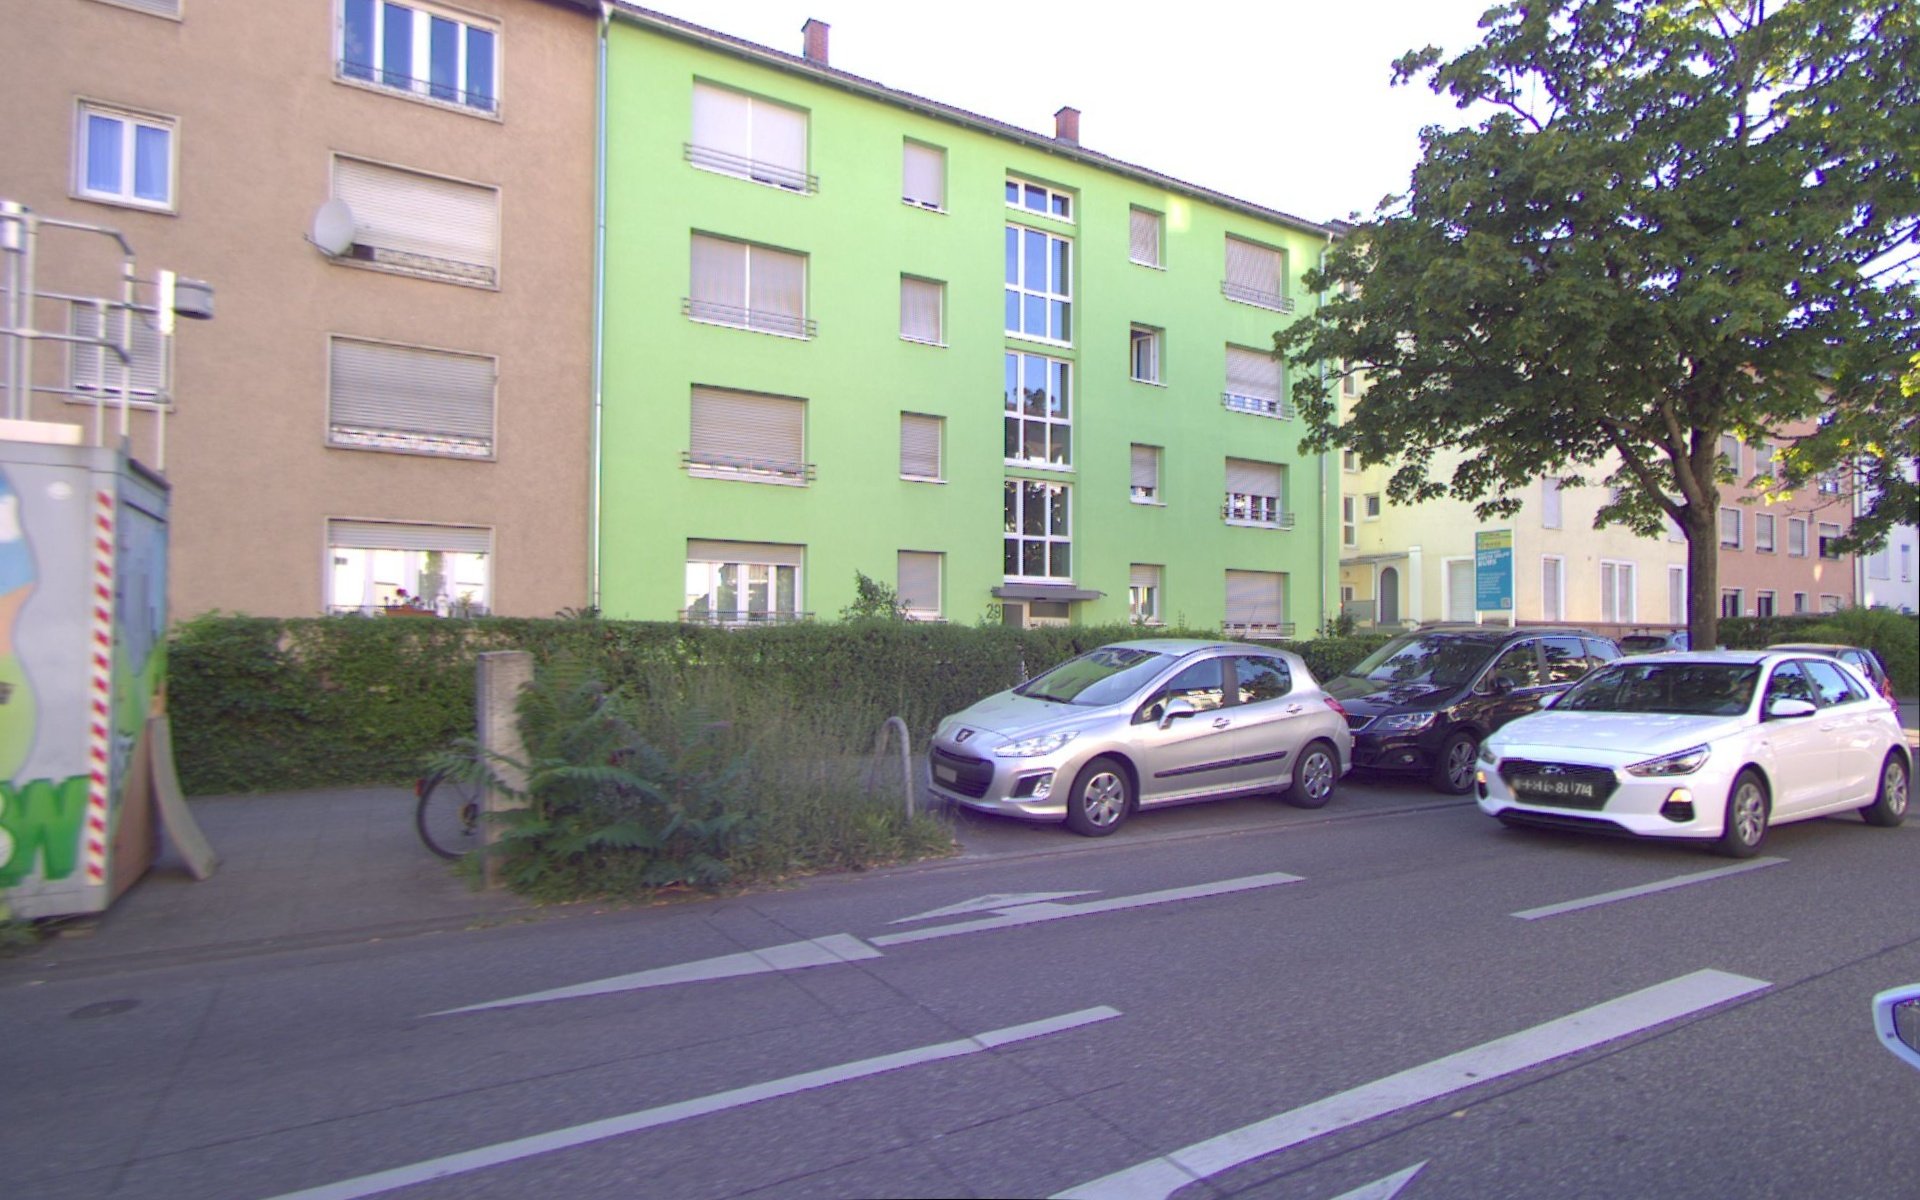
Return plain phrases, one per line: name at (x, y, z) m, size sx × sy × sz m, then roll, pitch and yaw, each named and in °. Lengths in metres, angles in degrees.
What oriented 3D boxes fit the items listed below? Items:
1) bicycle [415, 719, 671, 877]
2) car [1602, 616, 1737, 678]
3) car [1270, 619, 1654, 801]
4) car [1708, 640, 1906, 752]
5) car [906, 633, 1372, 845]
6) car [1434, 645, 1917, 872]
bicycle at (-2.762, 1.279, 6.735) m, size 1.528 × 0.873 × 0.368 m, roll 2°, pitch -1°, yaw -34°
car at (20.801, 1.366, 29.437) m, size 3.954 × 1.705 × 1.818 m, roll 2°, pitch -2°, yaw -31°
car at (5.892, 1.148, 11.663) m, size 4.562 × 1.755 × 1.776 m, roll 2°, pitch -2°, yaw -30°
car at (13.699, 1.488, 16.249) m, size 2.825 × 1.638 × 1.494 m, roll 2°, pitch -2°, yaw -27°
car at (1.725, 1.091, 9.155) m, size 4.144 × 1.541 × 1.673 m, roll 2°, pitch -2°, yaw -32°
car at (6.033, 1.142, 8.383) m, size 4.064 × 1.465 × 1.807 m, roll 2°, pitch -5°, yaw -32°
